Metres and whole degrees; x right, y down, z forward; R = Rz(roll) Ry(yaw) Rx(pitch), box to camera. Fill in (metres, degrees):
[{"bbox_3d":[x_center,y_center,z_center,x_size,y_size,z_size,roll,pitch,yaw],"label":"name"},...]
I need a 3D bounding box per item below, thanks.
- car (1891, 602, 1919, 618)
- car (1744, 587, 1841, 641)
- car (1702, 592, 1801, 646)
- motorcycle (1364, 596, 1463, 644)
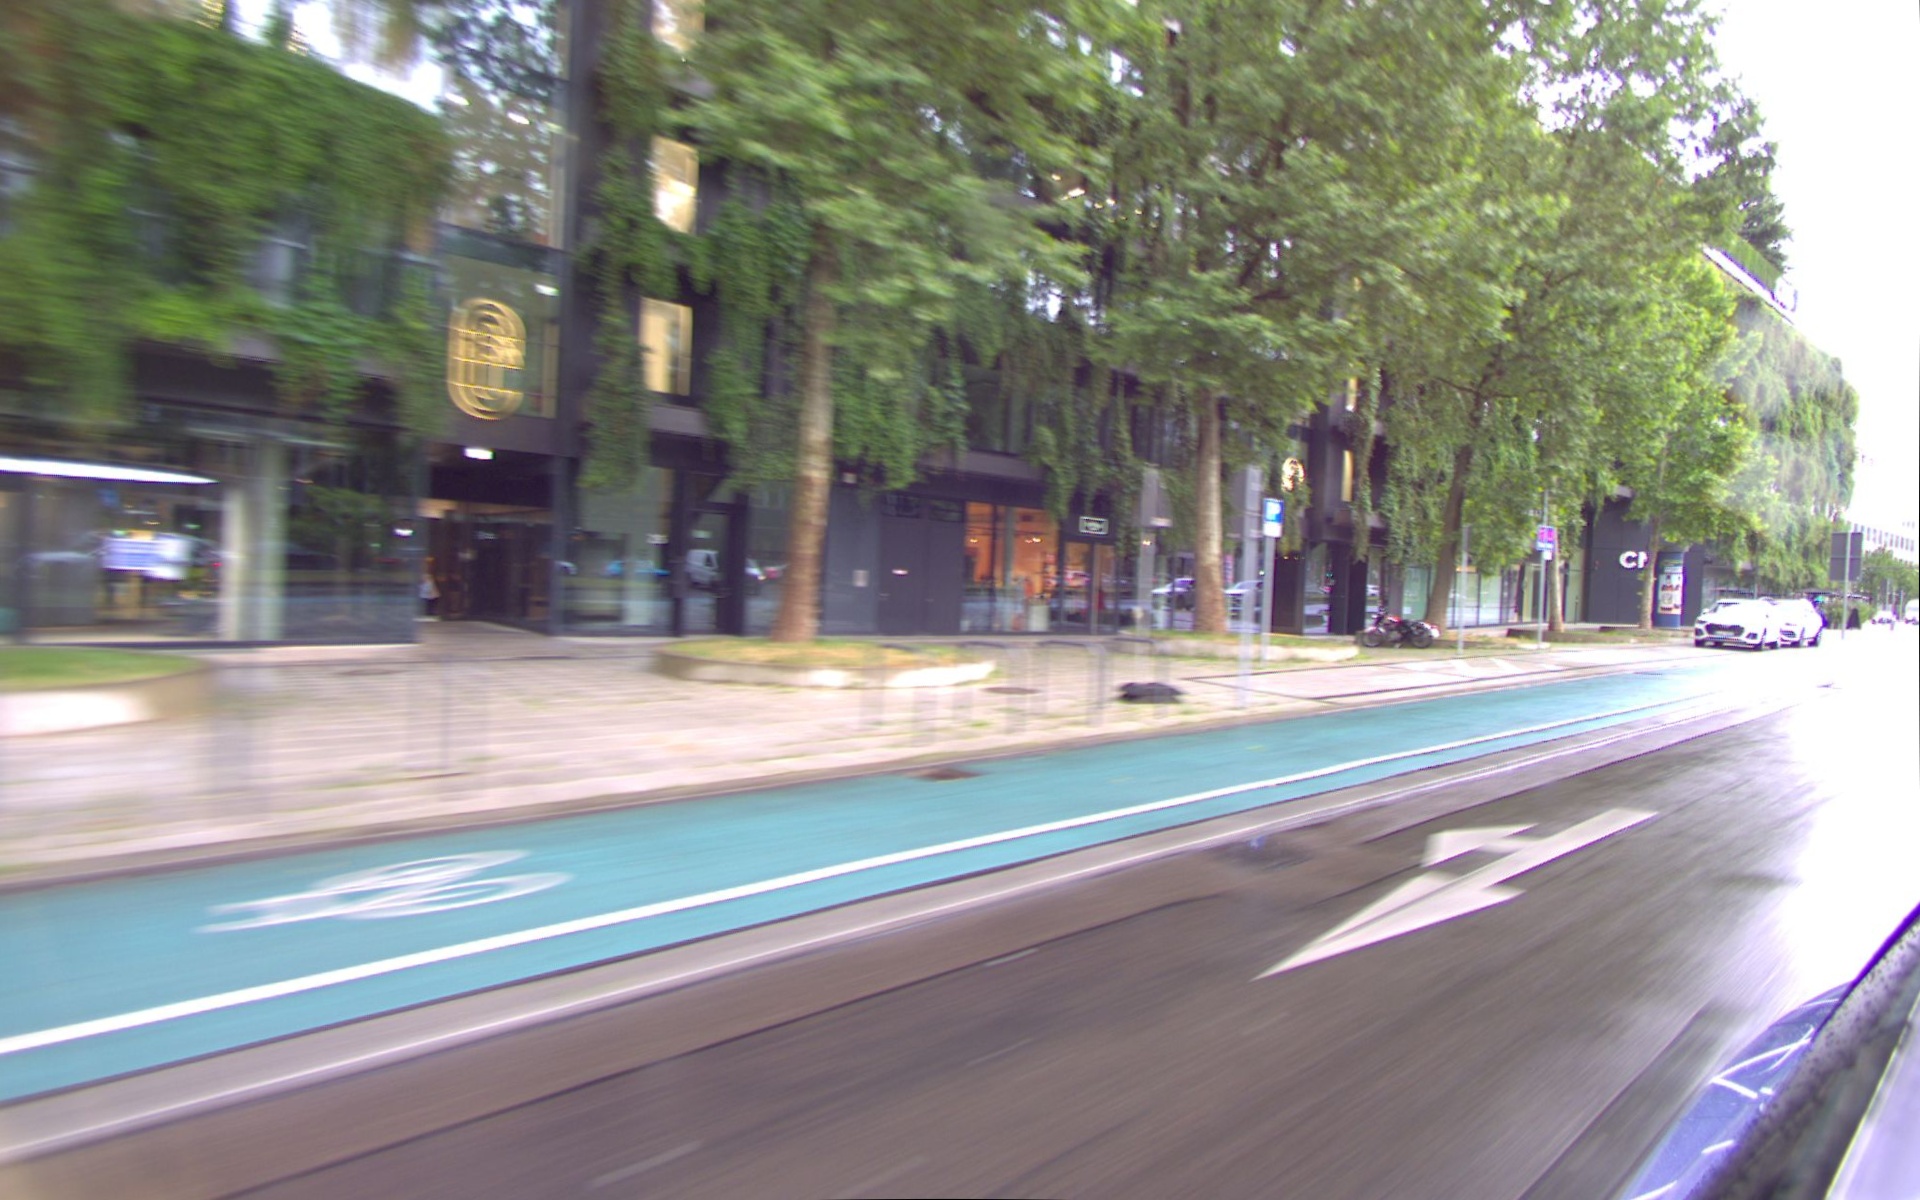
[{"bbox_3d":[100.841,1.027,107.982,4.589,1.571,1.738,0,1,-41],"label":"car"},{"bbox_3d":[31.544,0.529,38.283,5.002,1.860,1.848,1,2,-40],"label":"car"},{"bbox_3d":[26.985,0.626,34.450,4.703,1.653,1.846,1,1,-42],"label":"car"},{"bbox_3d":[12.613,0.535,28.190,1.034,1.286,2.311,1,0,-42],"label":"motorcycle"}]
